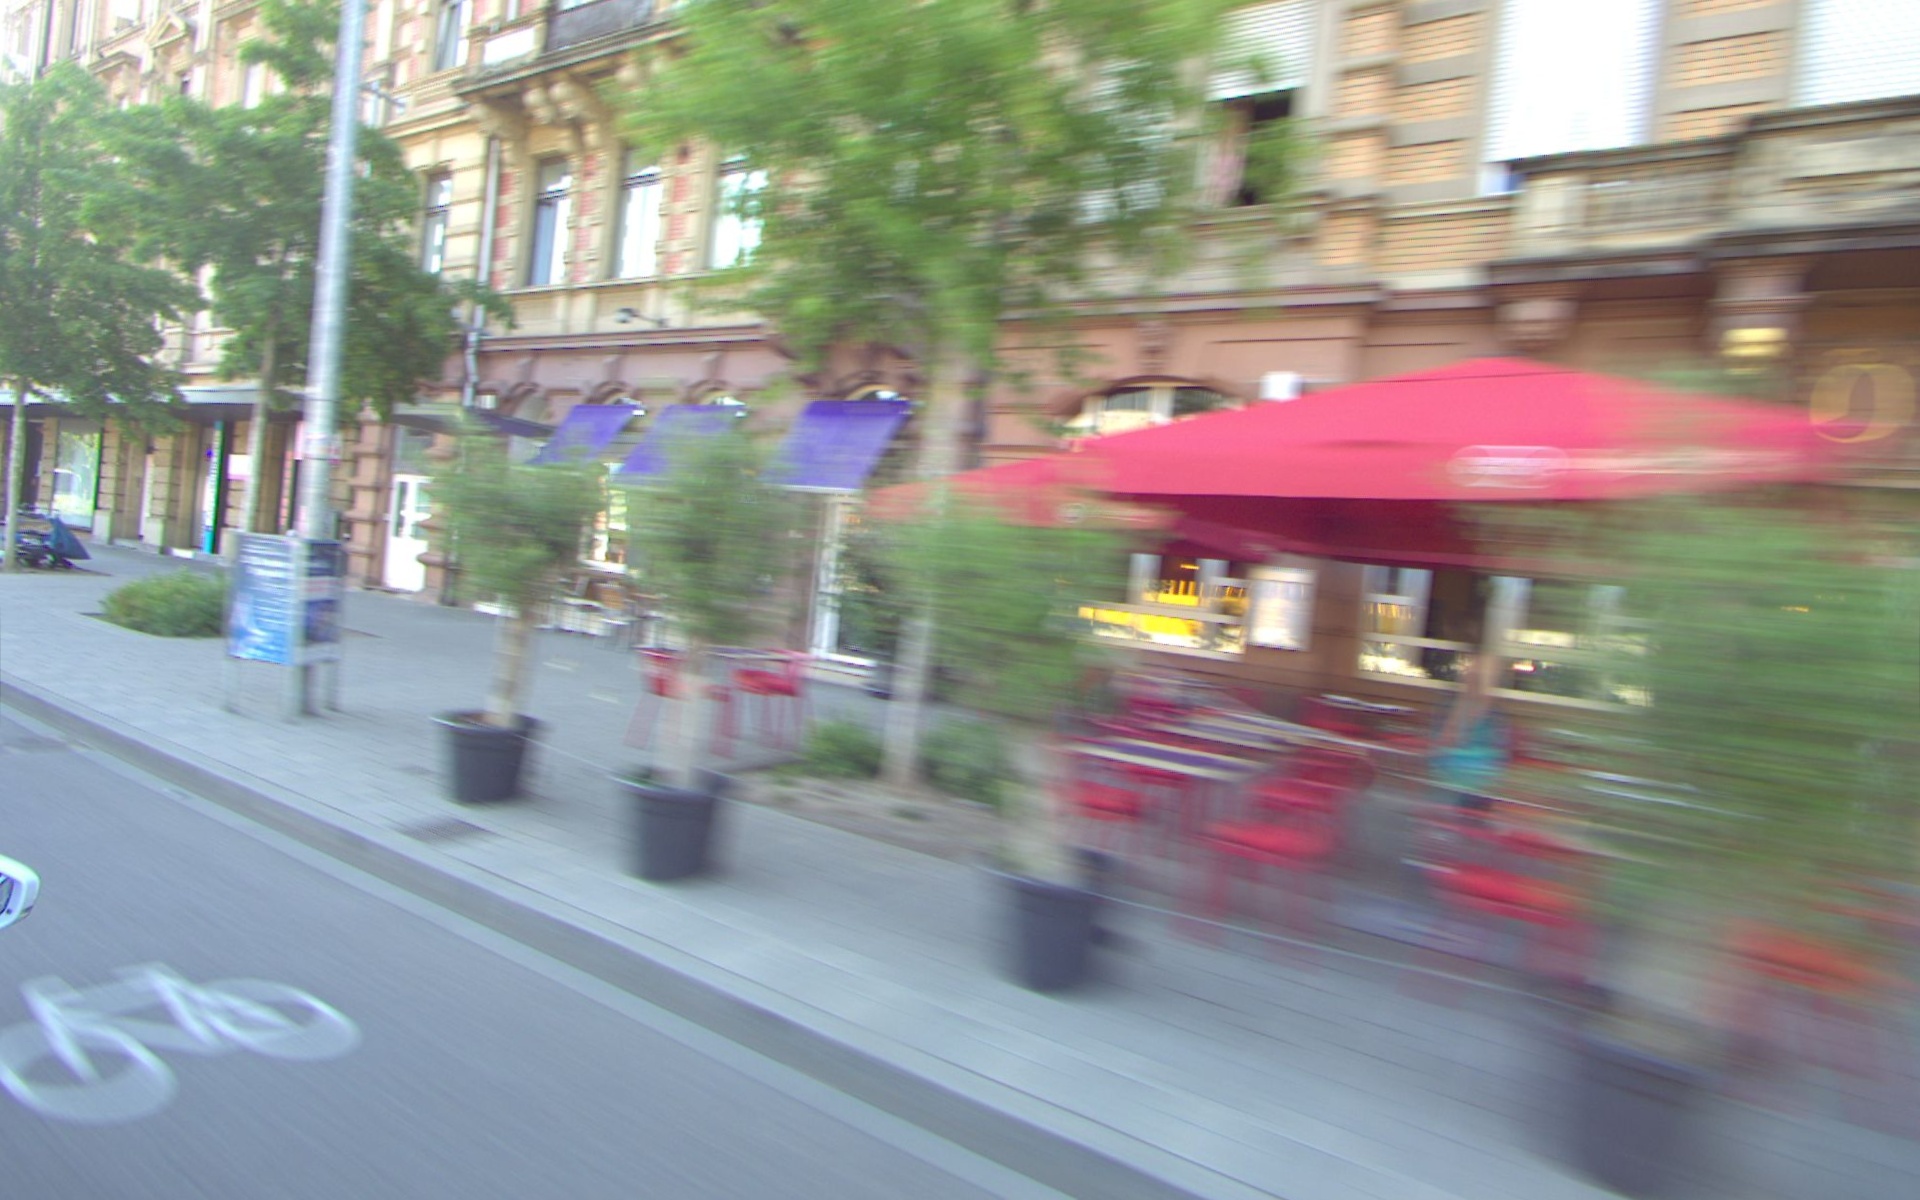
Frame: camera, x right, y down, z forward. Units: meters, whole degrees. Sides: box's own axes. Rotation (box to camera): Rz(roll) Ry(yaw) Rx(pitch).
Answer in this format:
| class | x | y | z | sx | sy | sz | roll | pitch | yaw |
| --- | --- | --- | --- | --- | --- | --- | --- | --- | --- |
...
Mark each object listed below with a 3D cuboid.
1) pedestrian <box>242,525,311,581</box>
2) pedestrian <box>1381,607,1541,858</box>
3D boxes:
| class | x | y | z | sx | sy | sz | roll | pitch | yaw |
| --- | --- | --- | --- | --- | --- | --- | --- | --- | --- |
| pedestrian | -13.422 | -0.917 | 19.750 | 0.791 | 0.975 | 0.814 | 7 | 1 | 33 |
| pedestrian | 3.501 | 0.874 | 7.016 | 0.783 | 1.554 | 0.728 | 7 | 3 | 31 |
